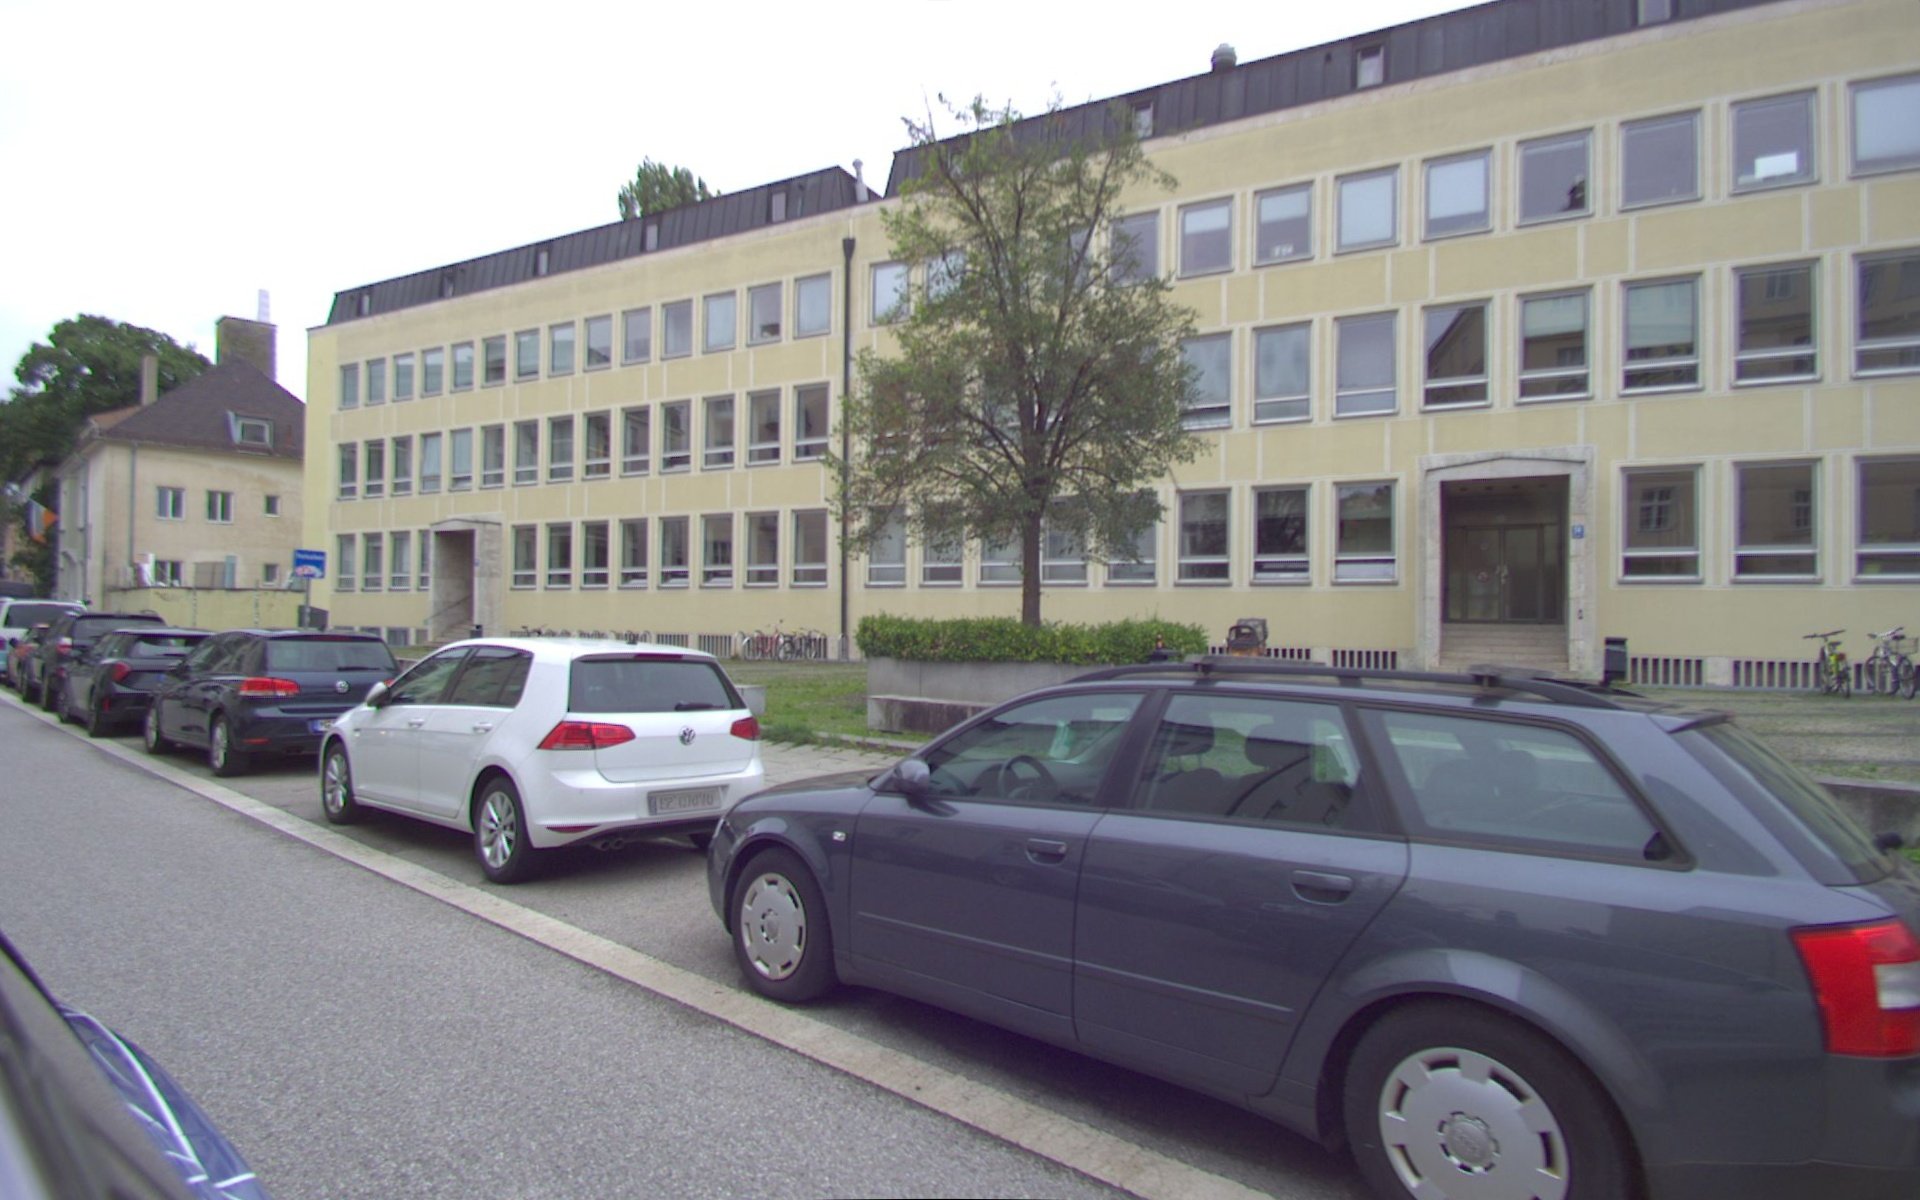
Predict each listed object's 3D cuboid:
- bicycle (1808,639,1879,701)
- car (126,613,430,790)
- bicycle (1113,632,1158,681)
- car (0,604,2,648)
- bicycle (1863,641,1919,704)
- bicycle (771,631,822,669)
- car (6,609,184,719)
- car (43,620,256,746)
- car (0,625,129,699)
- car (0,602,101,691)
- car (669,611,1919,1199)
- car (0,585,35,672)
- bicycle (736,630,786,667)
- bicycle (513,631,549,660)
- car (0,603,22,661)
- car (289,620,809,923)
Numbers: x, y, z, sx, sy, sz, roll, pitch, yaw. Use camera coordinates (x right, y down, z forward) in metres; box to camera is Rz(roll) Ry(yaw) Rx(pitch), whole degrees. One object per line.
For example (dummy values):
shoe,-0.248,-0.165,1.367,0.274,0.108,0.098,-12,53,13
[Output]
bicycle,15.128,1.171,17.371,0.435,0.924,1.890,0,0,26
car,-7.621,0.949,11.164,4.079,1.557,1.723,0,0,40
bicycle,4.148,1.314,23.805,0.572,1.036,1.821,0,0,25
car,-48.578,1.258,49.483,4.959,2.098,2.186,0,0,42
bicycle,15.810,1.191,17.024,0.435,0.924,1.890,0,0,26
bicycle,-4.619,1.406,28.690,0.388,0.997,1.721,0,0,31
car,-15.227,1.050,17.751,4.120,1.701,1.722,0,-3,41
car,-11.541,1.054,14.333,3.684,1.478,1.722,0,0,41
car,-19.293,1.277,21.669,3.454,1.415,1.722,0,-3,41
car,-22.560,1.071,24.473,4.352,1.991,1.924,0,-3,40
car,0.926,0.822,3.675,4.201,1.492,1.704,0,-3,40
car,-32.289,0.910,33.539,4.959,2.738,1.972,0,0,42
bicycle,-5.810,1.415,29.646,0.388,0.997,1.721,0,0,31
bicycle,-14.369,1.512,33.919,0.287,0.909,1.232,0,0,27
car,-37.064,1.186,38.097,4.959,2.098,2.186,0,0,42
car,-3.082,0.957,7.222,3.996,1.542,1.704,0,-3,40
